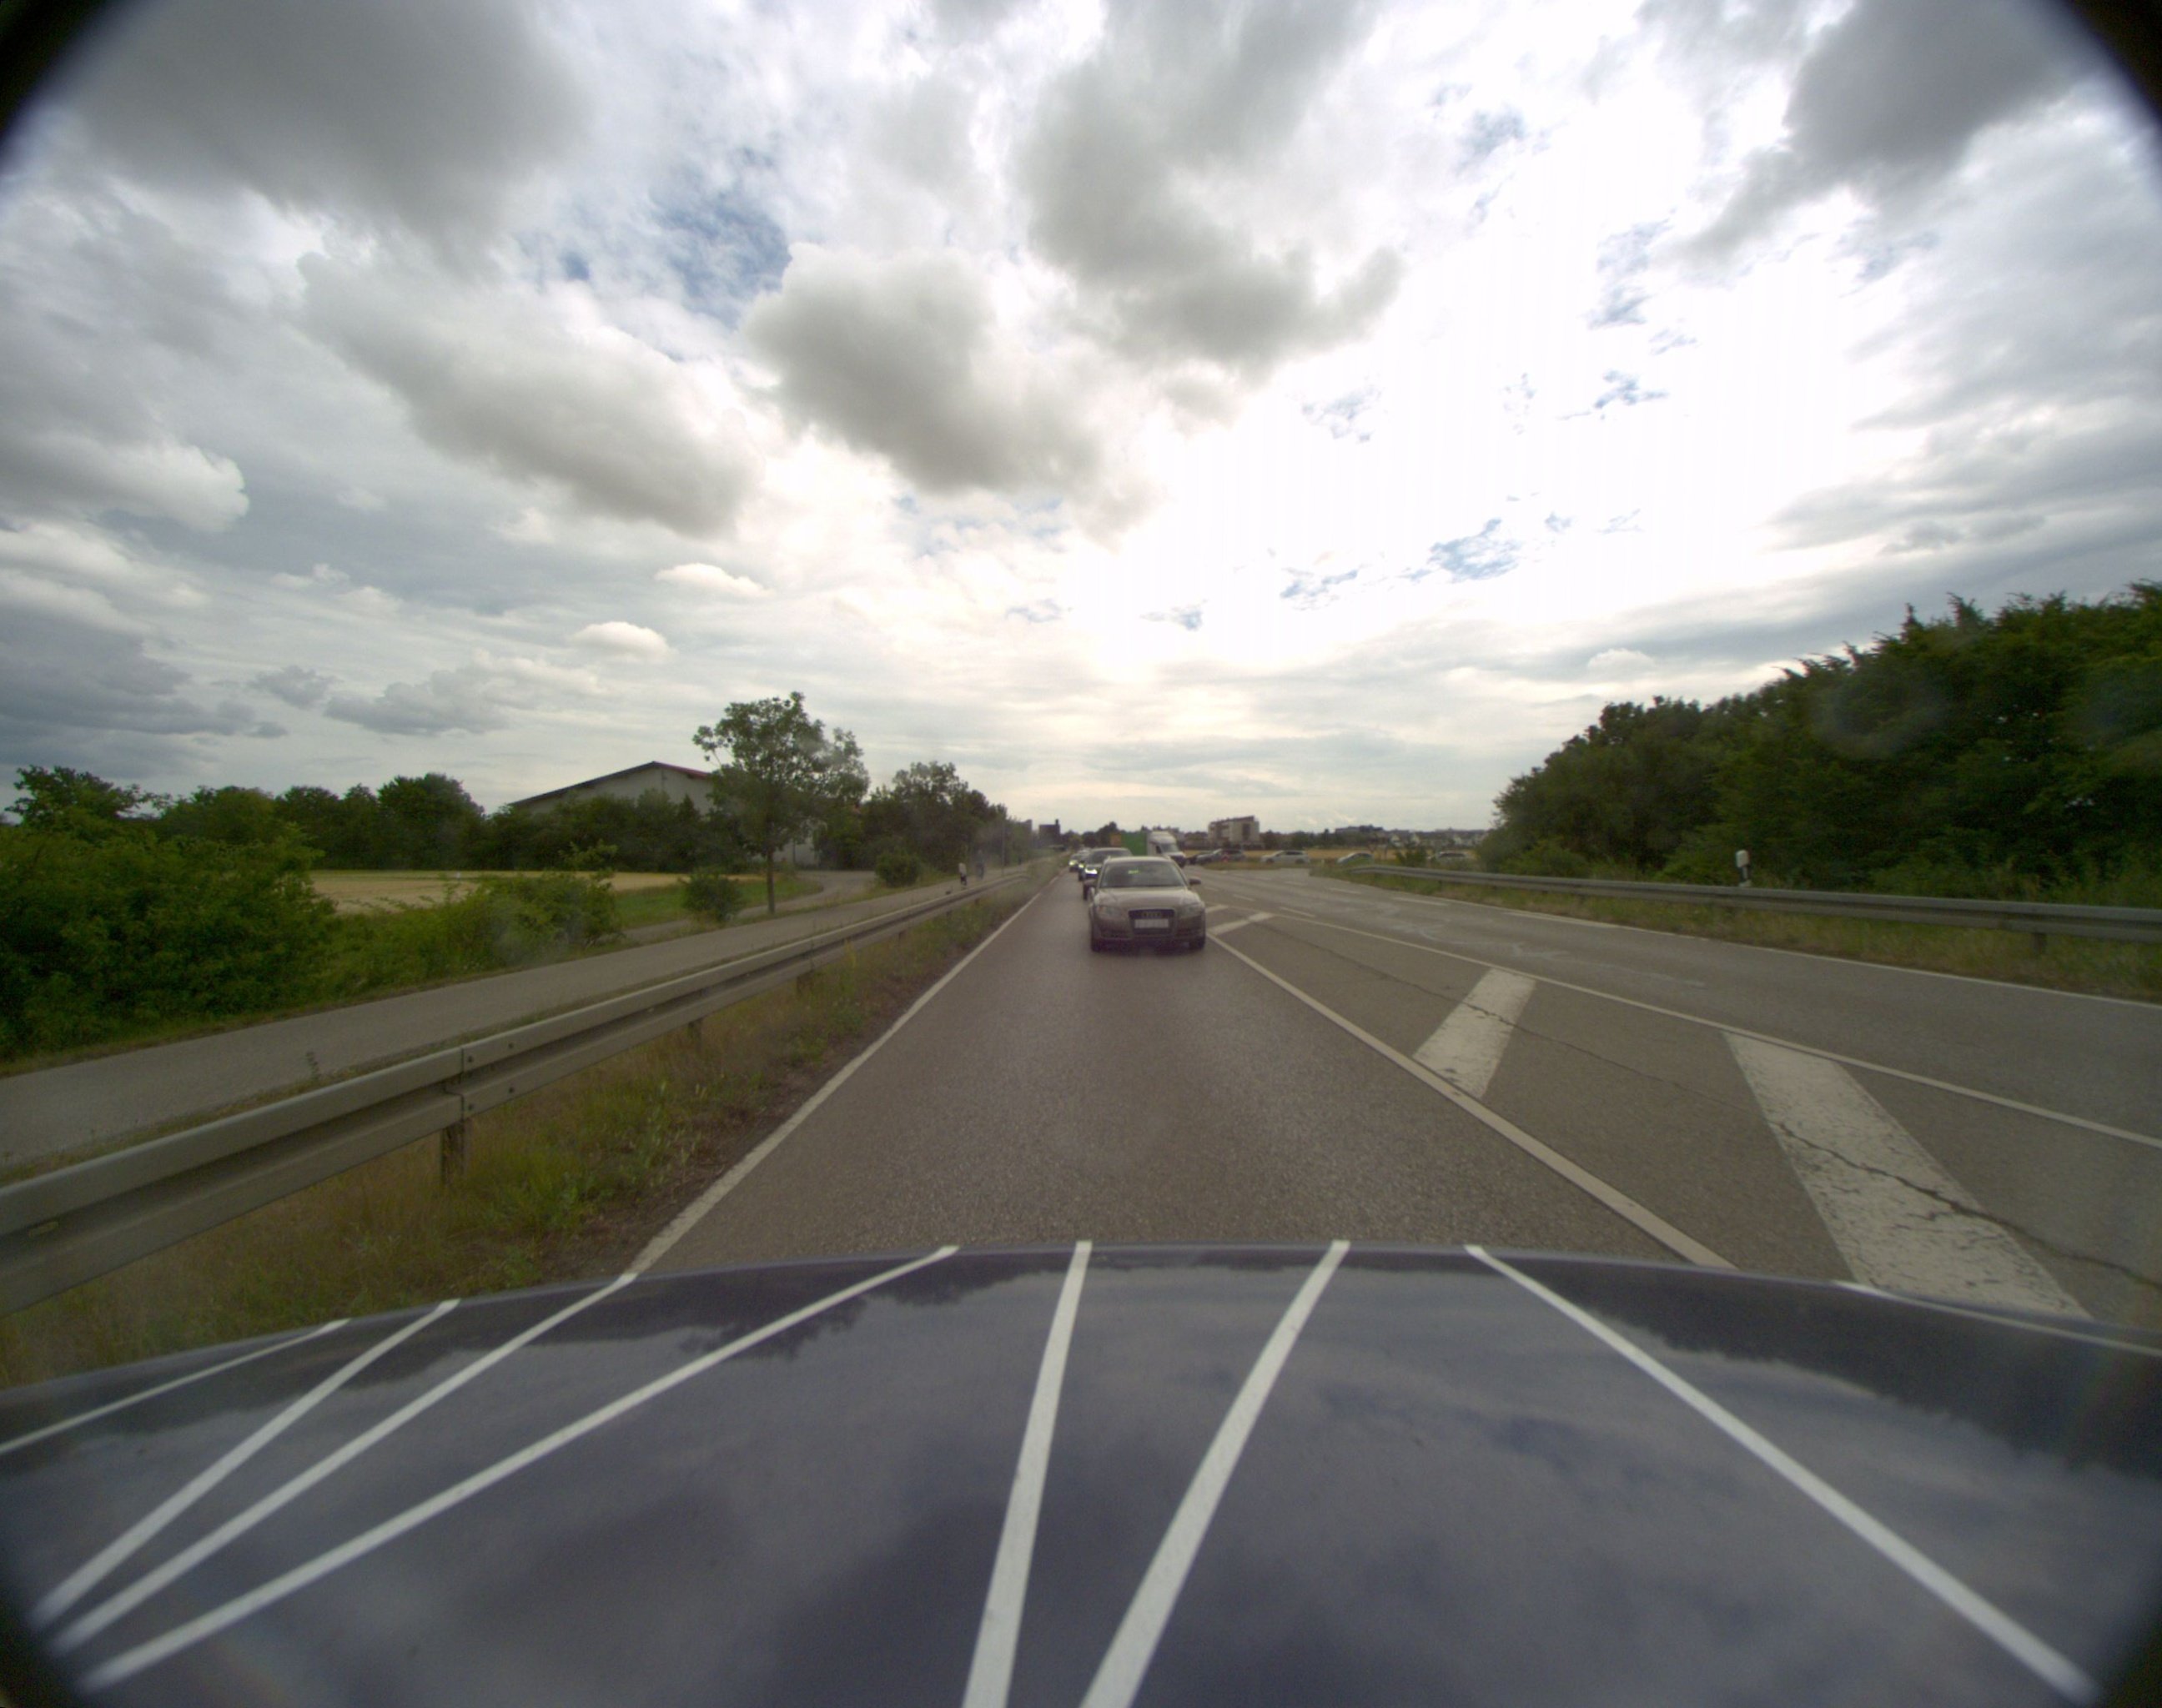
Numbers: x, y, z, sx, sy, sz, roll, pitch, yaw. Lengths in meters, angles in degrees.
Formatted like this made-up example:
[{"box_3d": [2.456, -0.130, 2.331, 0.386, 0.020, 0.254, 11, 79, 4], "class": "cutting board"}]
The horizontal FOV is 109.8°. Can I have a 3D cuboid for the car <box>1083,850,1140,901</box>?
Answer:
[{"box_3d": [0.964, 0.664, 25.996, 1.730, 1.534, 4.203, -2, 1, 0], "class": "car"}]

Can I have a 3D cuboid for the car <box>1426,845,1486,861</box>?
[{"box_3d": [34.998, -0.092, 71.000, 4.673, 1.490, 2.001, -1, 1, 7], "class": "car"}]

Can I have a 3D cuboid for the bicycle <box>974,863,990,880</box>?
[{"box_3d": [-5.917, 1.041, 45.463, 0.640, 0.973, 2.072, -1, 1, 0], "class": "bicycle"}]

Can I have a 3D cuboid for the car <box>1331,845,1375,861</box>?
[{"box_3d": [25.763, -0.122, 72.087, 3.714, 1.490, 1.731, -1, 1, 7], "class": "car"}]

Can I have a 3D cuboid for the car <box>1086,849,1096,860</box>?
[{"box_3d": [2.001, 0.127, 151.180, 1.998, 2.002, 3.999, -2, 1, 1], "class": "car"}]

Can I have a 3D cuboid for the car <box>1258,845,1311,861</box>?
[{"box_3d": [19.535, -0.086, 73.009, 4.673, 1.490, 2.001, -1, 1, 7], "class": "car"}]

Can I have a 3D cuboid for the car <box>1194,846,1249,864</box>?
[{"box_3d": [13.513, 0.107, 73.173, 4.816, 1.680, 1.999, -1, 1, -4], "class": "car"}]

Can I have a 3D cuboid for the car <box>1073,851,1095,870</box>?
[{"box_3d": [0.250, 0.474, 61.926, 1.730, 1.436, 4.203, -2, 1, 0], "class": "car"}]

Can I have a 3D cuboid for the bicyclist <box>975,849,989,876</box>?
[{"box_3d": [-5.921, 0.486, 45.432, 0.640, 1.573, 0.969, -1, 1, 0], "class": "bicyclist"}]

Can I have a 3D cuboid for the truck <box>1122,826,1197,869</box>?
[{"box_3d": [6.912, -0.547, 68.169, 2.937, 3.542, 7.589, -3, 1, -26], "class": "truck"}]

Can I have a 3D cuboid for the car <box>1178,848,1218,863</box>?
[{"box_3d": [11.977, 0.155, 77.936, 2.003, 1.481, 3.828, -1, 1, -33], "class": "car"}]

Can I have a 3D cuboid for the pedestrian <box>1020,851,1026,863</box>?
[{"box_3d": [-6.991, 0.351, 91.786, 0.592, 1.512, 0.501, -2, 1, 7], "class": "pedestrian"}]

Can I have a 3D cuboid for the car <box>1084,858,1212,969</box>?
[{"box_3d": [0.944, 0.840, 12.637, 1.730, 1.436, 4.203, -2, 1, 0], "class": "car"}]

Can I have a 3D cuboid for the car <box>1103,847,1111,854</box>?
[{"box_3d": [7.524, -1.112, 219.034, 1.998, 2.002, 3.999, -2, 1, 1], "class": "car"}]

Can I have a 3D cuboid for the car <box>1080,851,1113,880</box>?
[{"box_3d": [0.821, 0.599, 42.520, 1.730, 1.478, 4.203, -2, 1, 0], "class": "car"}]
